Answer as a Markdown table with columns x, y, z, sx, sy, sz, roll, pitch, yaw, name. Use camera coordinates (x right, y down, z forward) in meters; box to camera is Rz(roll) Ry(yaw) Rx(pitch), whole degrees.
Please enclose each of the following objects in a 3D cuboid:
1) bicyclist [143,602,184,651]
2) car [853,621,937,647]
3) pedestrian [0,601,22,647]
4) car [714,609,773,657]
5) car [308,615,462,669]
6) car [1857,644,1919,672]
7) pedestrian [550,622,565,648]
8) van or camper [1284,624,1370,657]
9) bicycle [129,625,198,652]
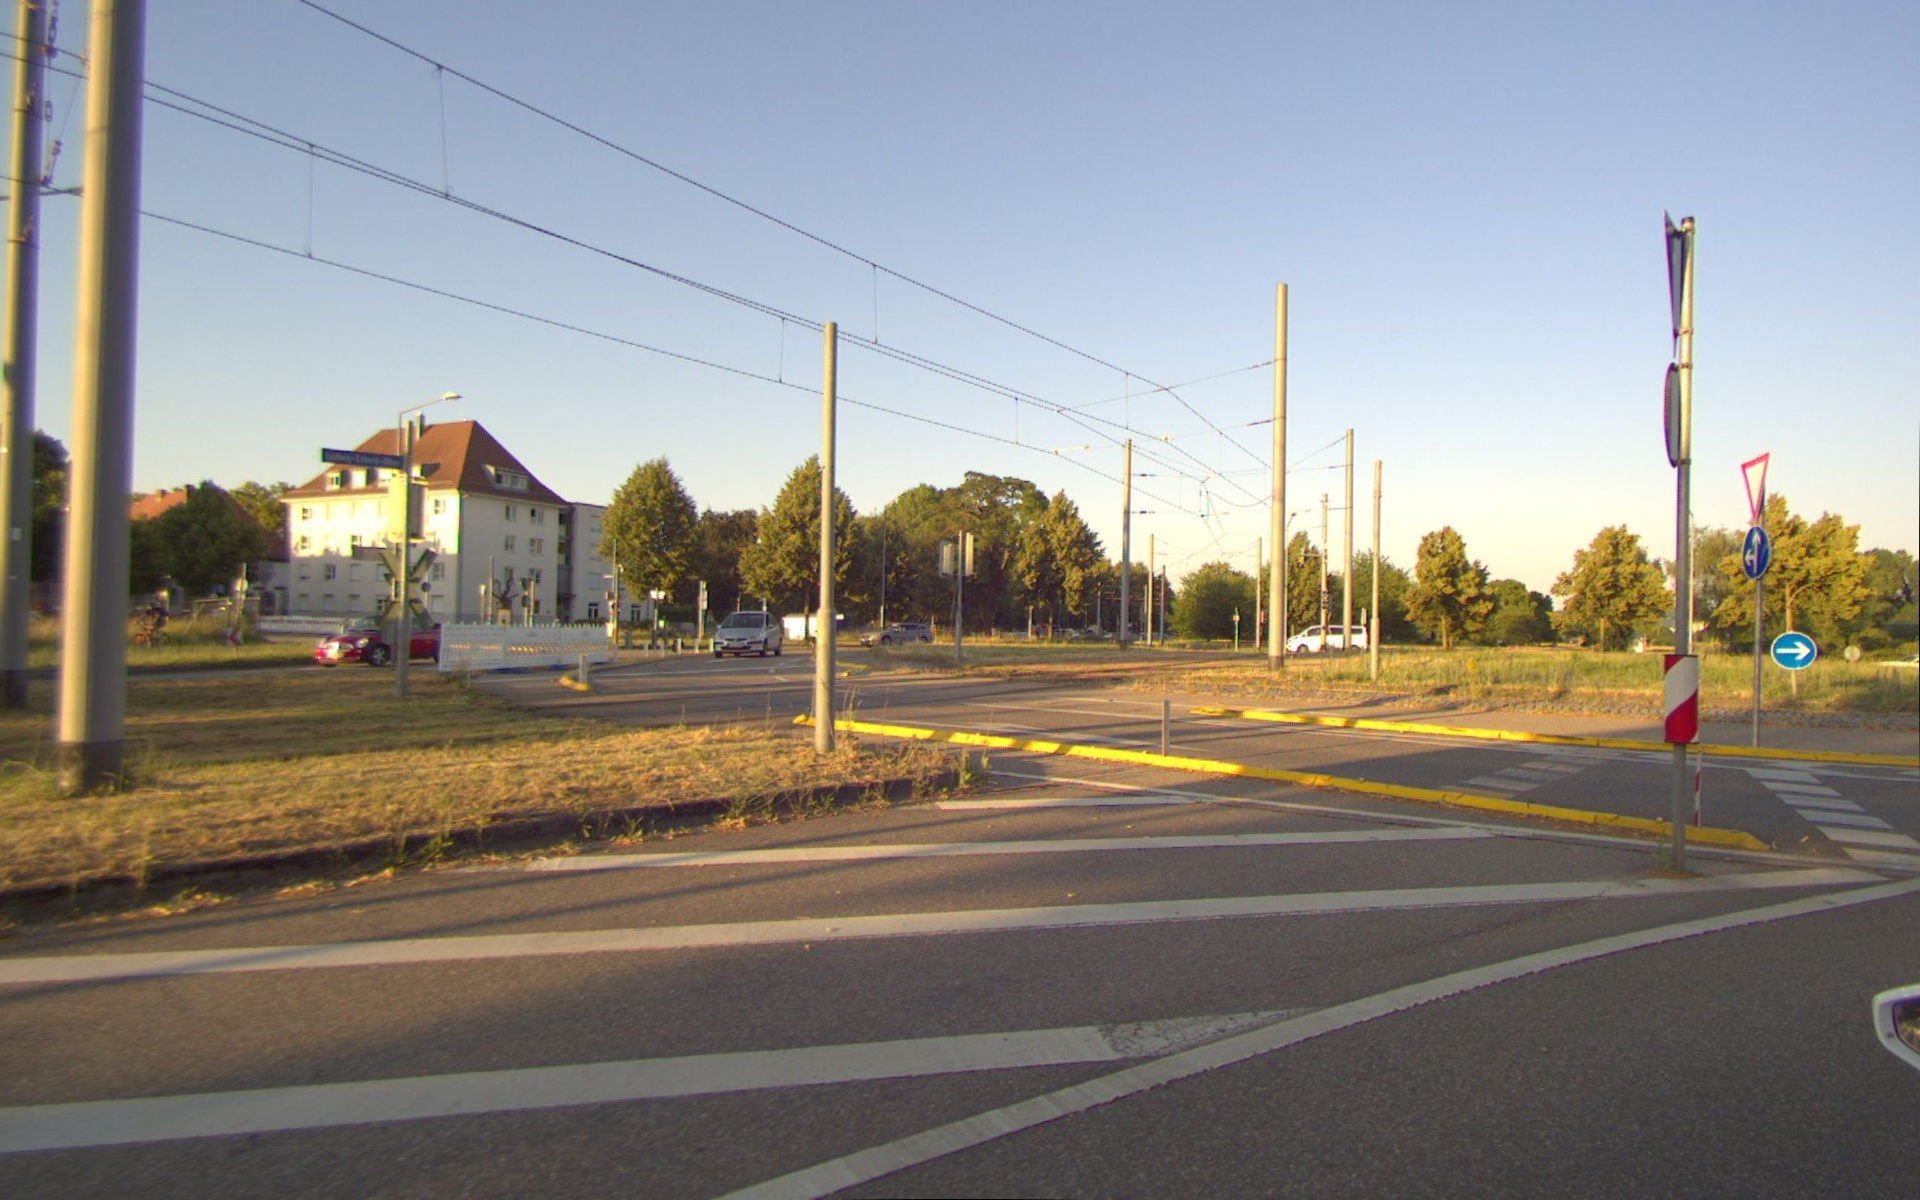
| x | y | z | sx | sy | sz | roll | pitch | yaw | name |
| --- | --- | --- | --- | --- | --- | --- | --- | --- | --- |
| -27.121 | 0.902 | 34.208 | 0.681 | 1.656 | 0.799 | 1 | -1 | 5 | bicyclist |
| -3.749 | 1.989 | 58.600 | 4.610 | 1.434 | 1.910 | 2 | -1 | -38 | car |
| -28.766 | 0.721 | 30.289 | 0.425 | 1.384 | 0.504 | 1 | -1 | 14 | pedestrian |
| -7.132 | 1.079 | 33.378 | 1.577 | 1.485 | 3.706 | 1 | -1 | -8 | car |
| -15.798 | 1.119 | 27.860 | 1.797 | 1.350 | 4.002 | 1 | -1 | 3 | car |
| 48.276 | 2.980 | 51.018 | 3.707 | 1.272 | 1.579 | 2 | 0 | 21 | car |
| -25.139 | 2.178 | 62.764 | 0.555 | 1.643 | 0.594 | 1 | -1 | 22 | pedestrian |
| 24.809 | 2.728 | 68.066 | 5.195 | 2.036 | 1.916 | 1 | -1 | 12 | van or camper |
| -27.123 | 1.298 | 34.229 | 0.502 | 0.857 | 2.137 | 1 | -1 | 5 | bicycle |
